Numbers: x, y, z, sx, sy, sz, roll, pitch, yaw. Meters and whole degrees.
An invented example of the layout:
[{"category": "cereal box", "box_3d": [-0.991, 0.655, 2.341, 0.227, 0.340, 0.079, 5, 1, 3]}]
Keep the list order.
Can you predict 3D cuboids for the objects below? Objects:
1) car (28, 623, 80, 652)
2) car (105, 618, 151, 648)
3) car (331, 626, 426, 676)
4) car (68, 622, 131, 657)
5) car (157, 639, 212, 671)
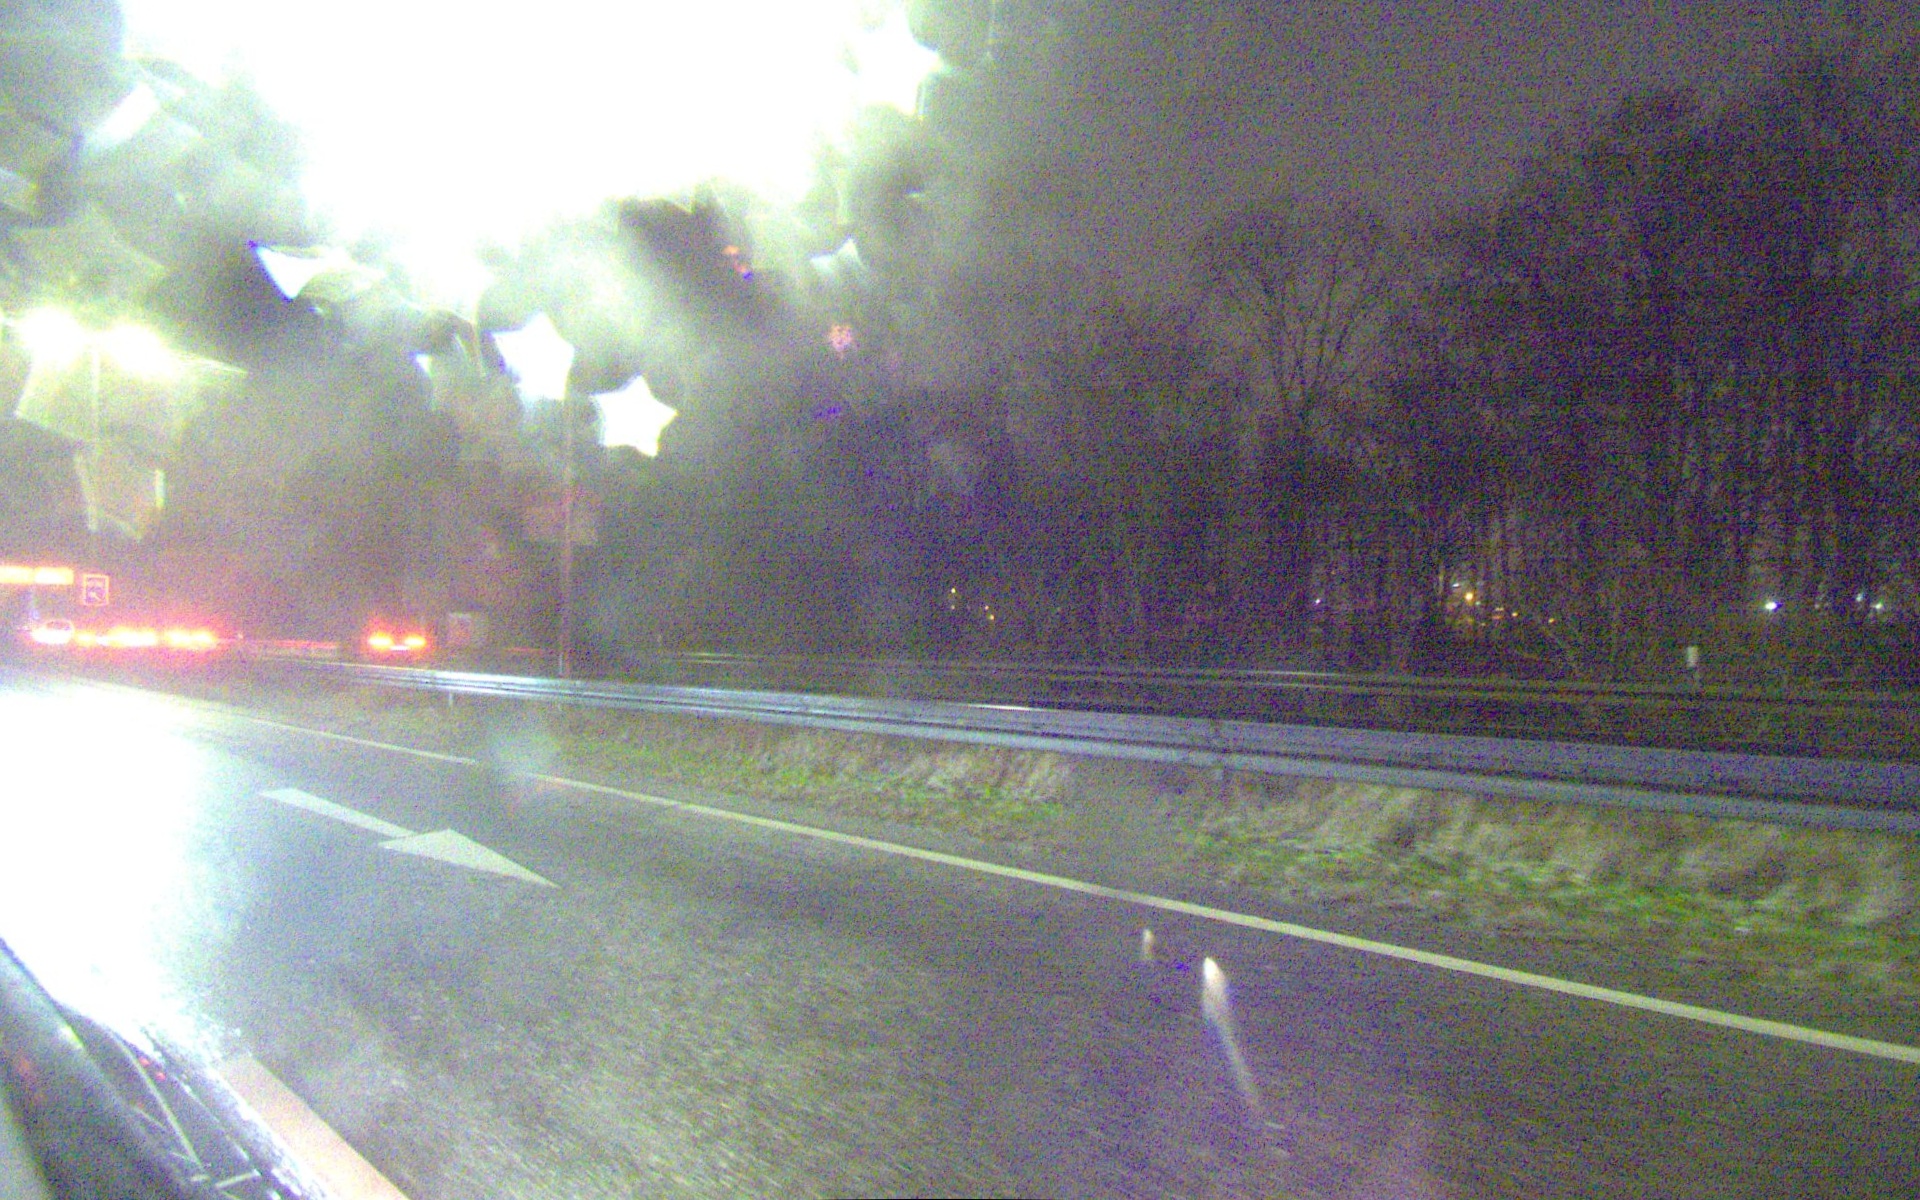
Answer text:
[{"category": "car", "box_3d": [-54.407, 2.239, 60.758, 3.995, 1.660, 1.766, -1, -1, 39]}, {"category": "car", "box_3d": [-59.762, 2.362, 72.686, 3.998, 2.029, 1.973, -2, -1, 41]}, {"category": "car", "box_3d": [-20.944, 1.774, 36.407, 4.000, 1.660, 1.842, -2, -1, 43]}, {"category": "car", "box_3d": [-42.907, 1.943, 50.435, 3.997, 1.660, 1.765, -2, -1, 40]}, {"category": "car", "box_3d": [-44.263, 3.112, 57.759, 3.999, 1.660, 1.793, -2, -1, 42]}]
